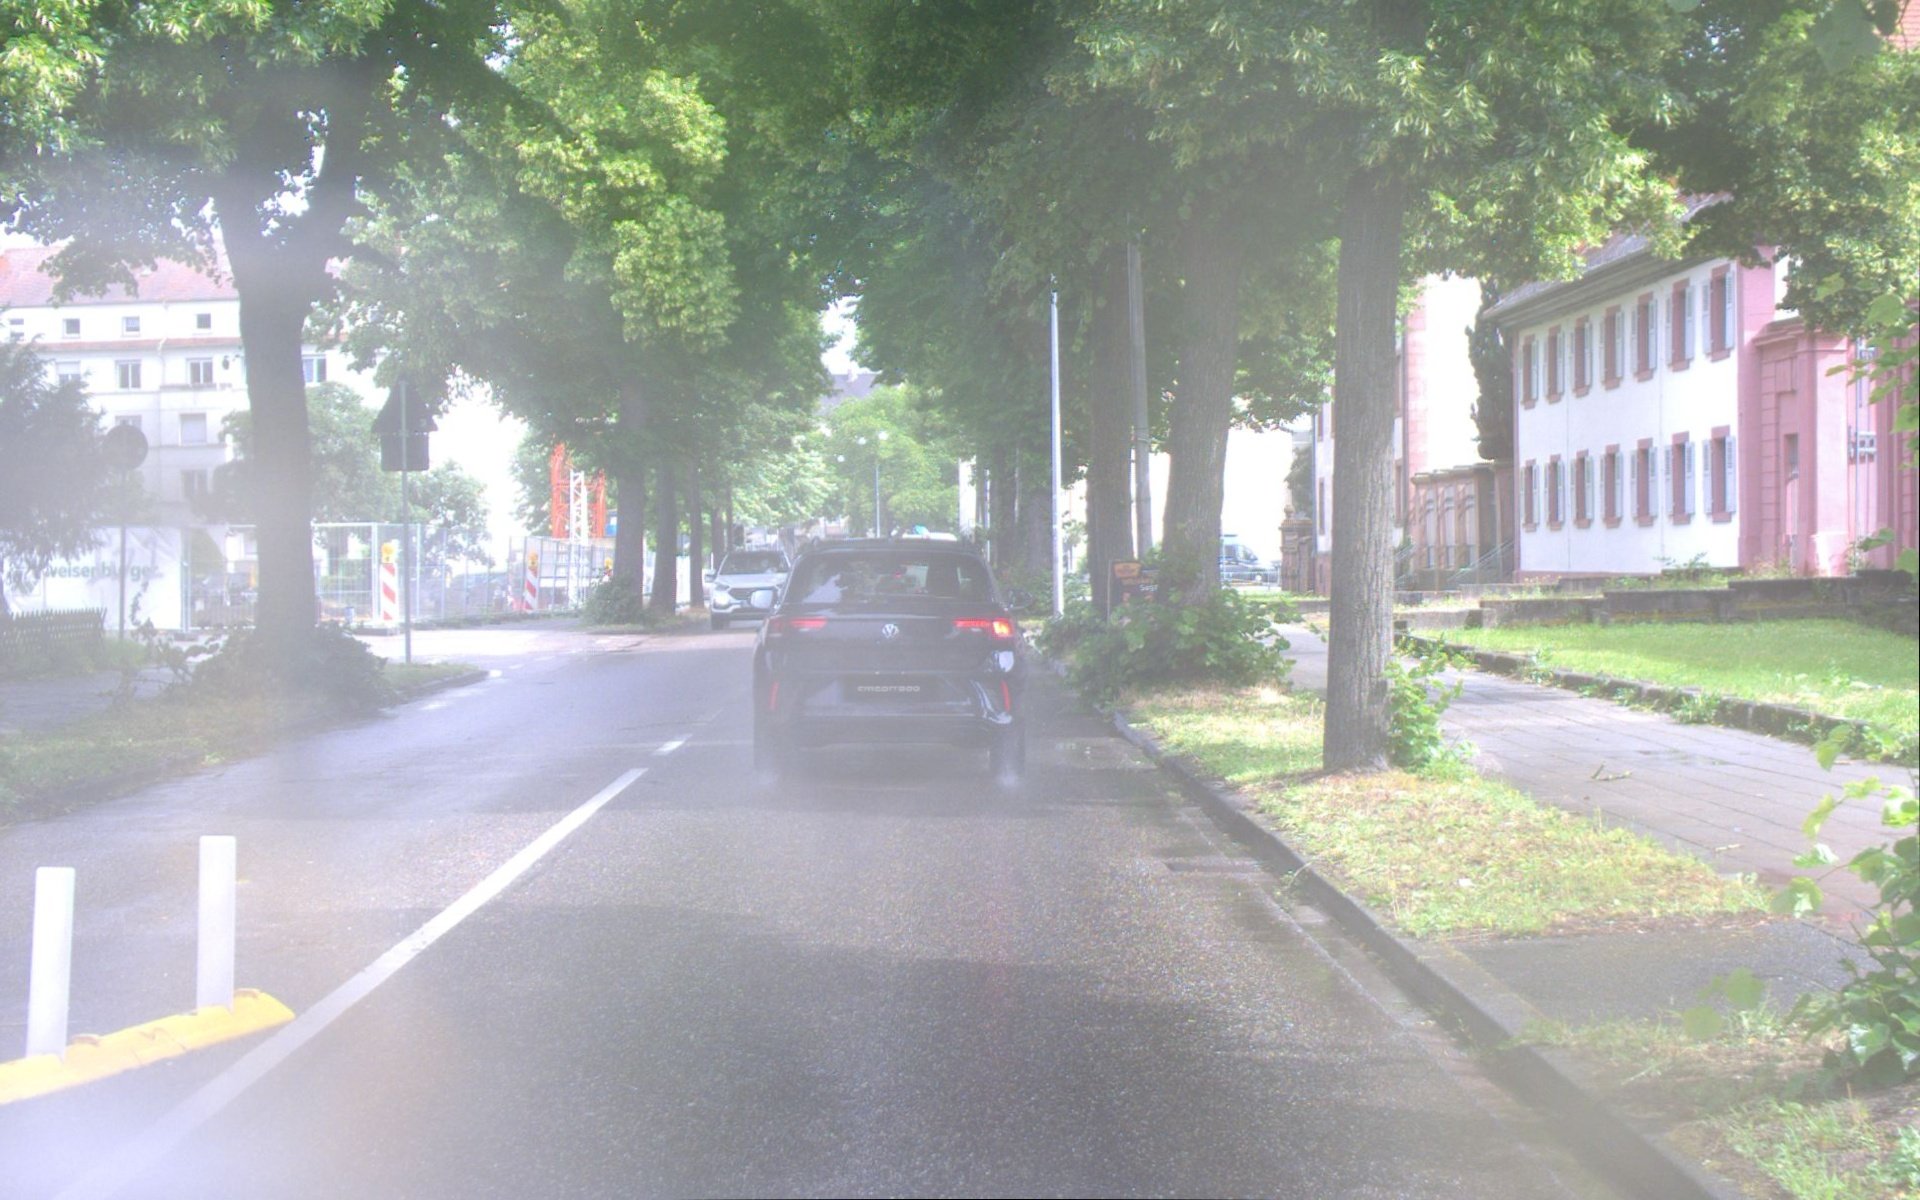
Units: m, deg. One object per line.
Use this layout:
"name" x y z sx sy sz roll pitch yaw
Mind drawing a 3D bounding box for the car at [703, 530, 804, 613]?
"car" -4.416 -0.629 74.041 1.886 1.708 4.230 -1 1 0

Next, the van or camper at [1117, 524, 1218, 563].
"van or camper" 10.193 -2.798 169.326 4.874 1.919 2.131 0 1 0

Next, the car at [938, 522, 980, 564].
"car" -0.045 -3.245 197.427 1.994 2.007 3.999 -3 -4 4

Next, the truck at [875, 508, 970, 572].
"truck" -1.678 -2.619 148.183 2.804 2.647 8.243 0 1 -10

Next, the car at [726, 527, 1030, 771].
"car" -0.543 0.280 23.403 1.894 1.517 4.000 0 1 -1
